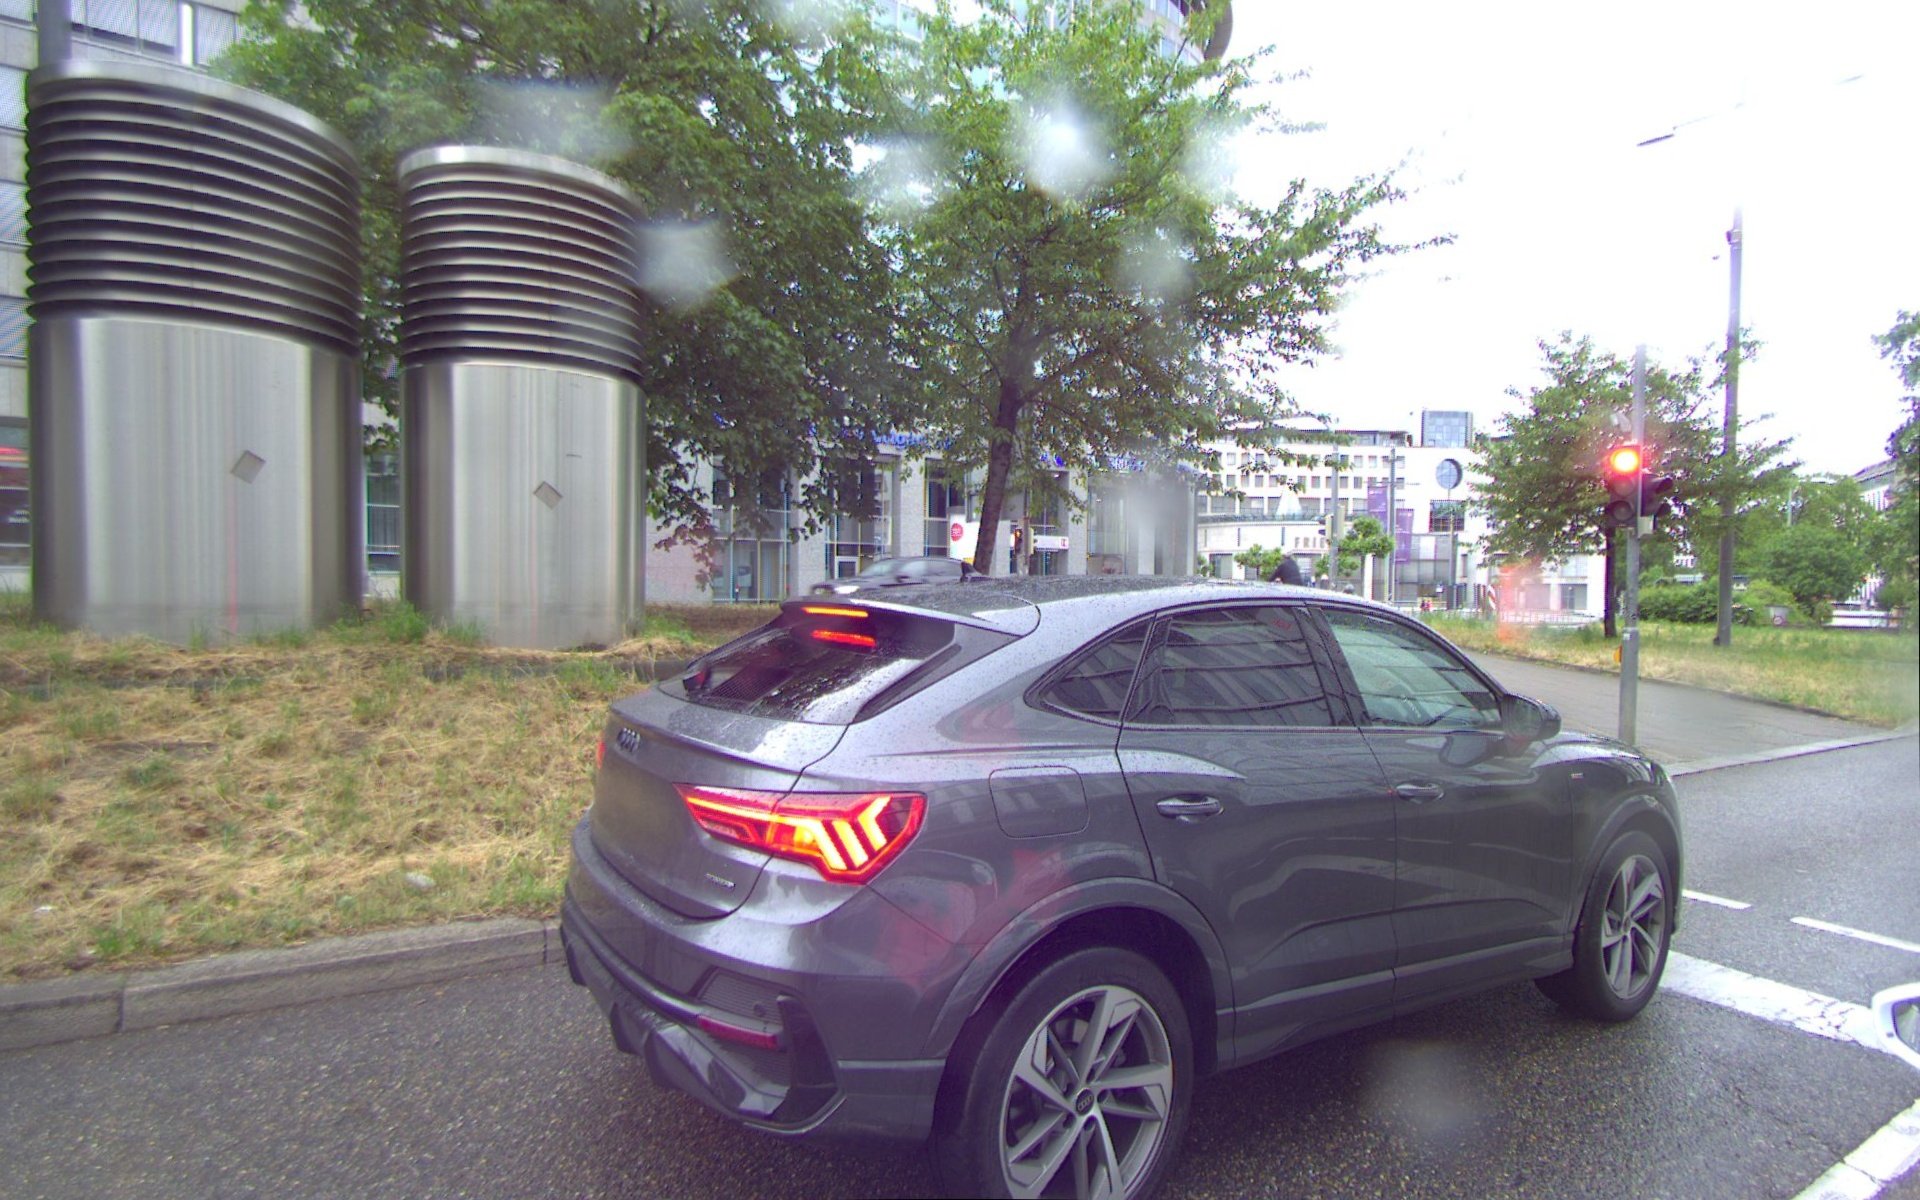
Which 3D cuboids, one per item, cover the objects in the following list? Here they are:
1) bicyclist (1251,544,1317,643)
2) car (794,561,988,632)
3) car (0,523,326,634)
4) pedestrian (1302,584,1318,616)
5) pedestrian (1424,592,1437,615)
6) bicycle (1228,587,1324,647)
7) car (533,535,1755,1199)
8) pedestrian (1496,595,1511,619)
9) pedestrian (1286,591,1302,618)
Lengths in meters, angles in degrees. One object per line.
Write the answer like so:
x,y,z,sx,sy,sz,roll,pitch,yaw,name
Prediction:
7.139,-0.164,22.166,0.753,2.111,1.077,0,4,-27,bicyclist
-1.571,-0.062,23.899,4.347,1.506,1.789,1,2,-40,car
-12.161,-0.301,15.433,3.962,1.506,1.791,1,2,-37,car
19.600,0.020,56.278,0.613,1.786,0.722,-1,-2,41,pedestrian
42.737,0.344,91.267,0.735,2.041,0.781,0,3,-44,pedestrian
7.009,0.357,22.402,0.753,1.161,2.117,0,4,-27,bicycle
0.875,0.695,3.619,4.206,1.638,1.837,0,2,-33,car
48.910,0.632,90.405,0.731,2.041,0.786,1,2,-28,pedestrian
18.956,0.260,57.030,0.718,1.536,0.689,-1,-2,36,pedestrian
